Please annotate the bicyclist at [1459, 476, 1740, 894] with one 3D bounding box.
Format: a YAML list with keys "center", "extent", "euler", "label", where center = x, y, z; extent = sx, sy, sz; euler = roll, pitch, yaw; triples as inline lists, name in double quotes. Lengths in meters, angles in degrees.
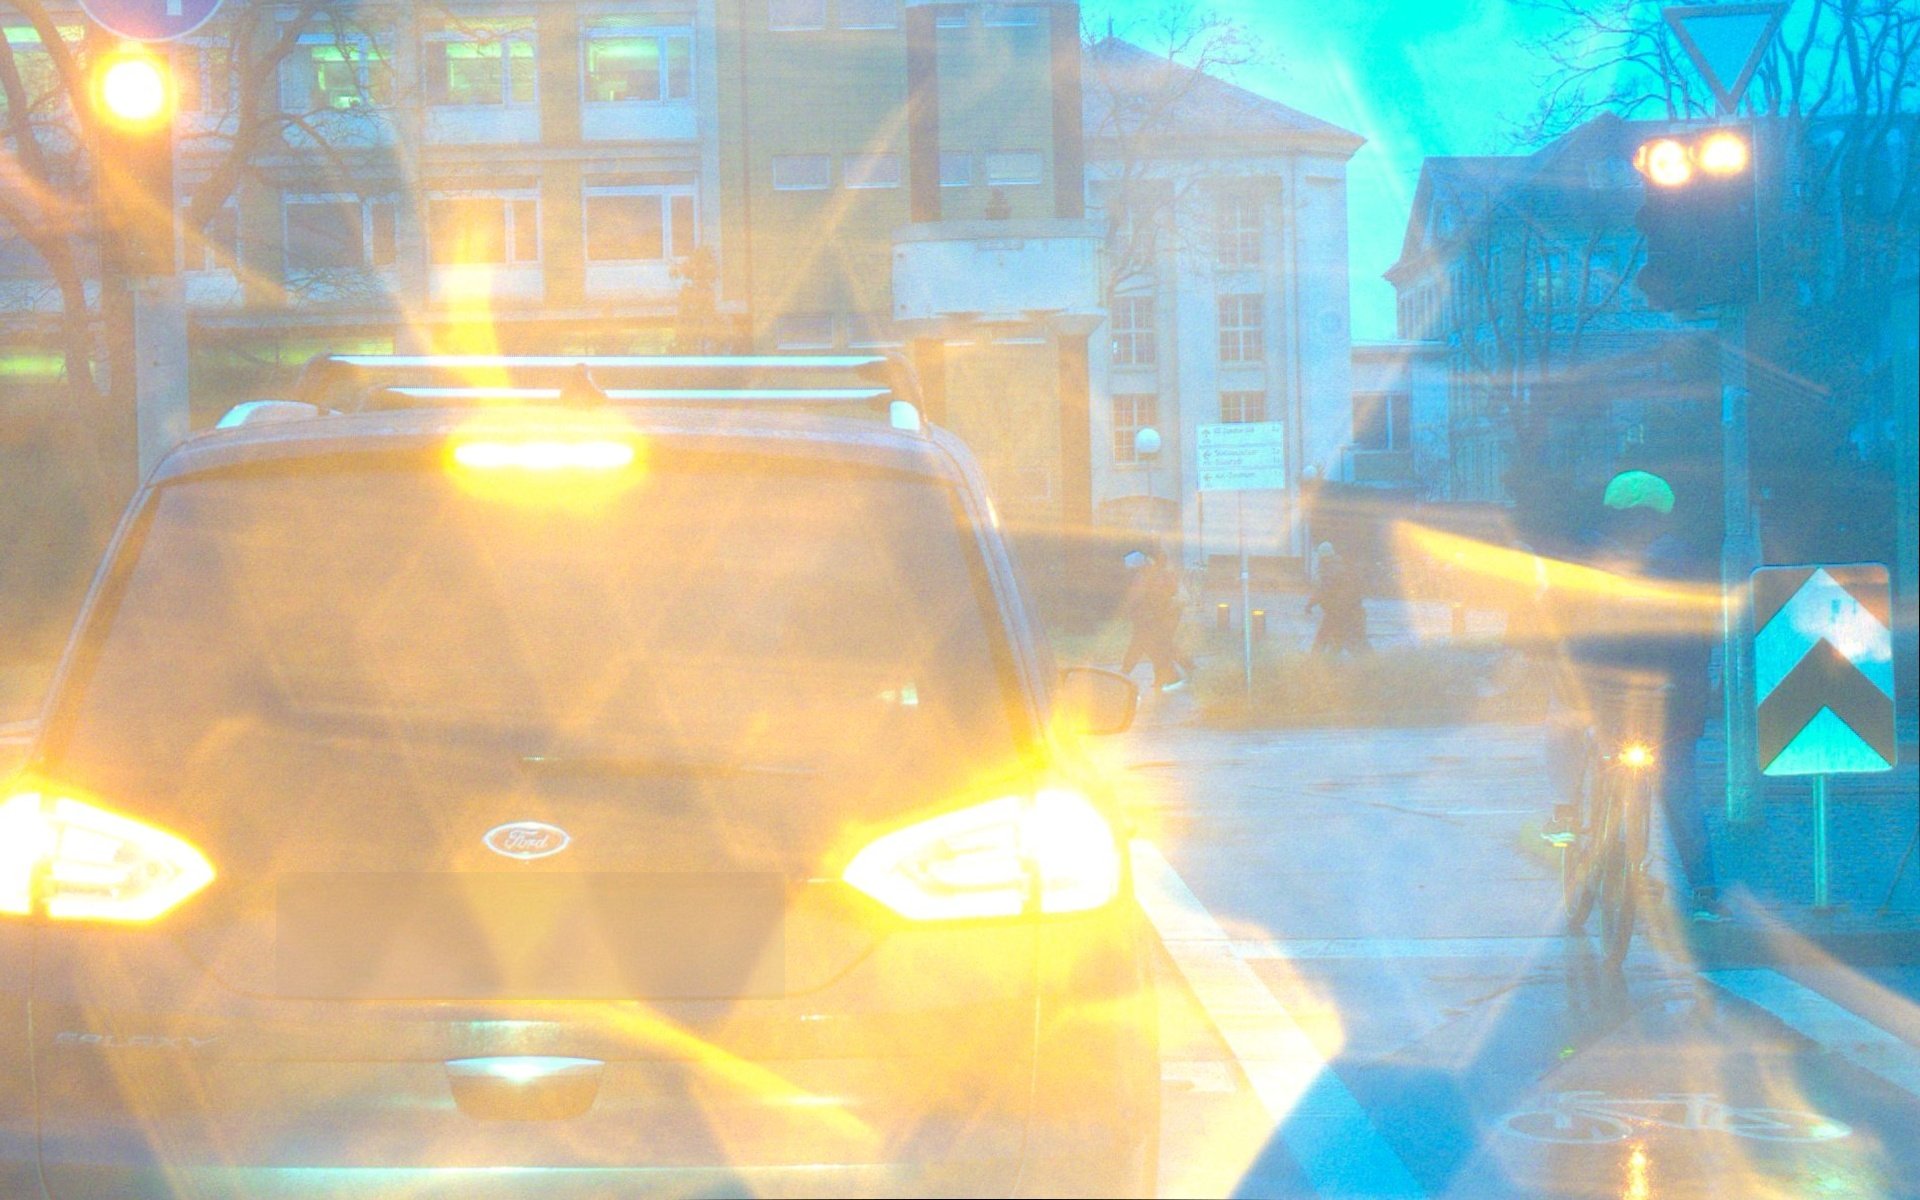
- center: [2.315, 0.292, 12.573]
  extent: [0.783, 1.448, 1.134]
  euler: [1, 0, -1]
  label: "bicyclist"

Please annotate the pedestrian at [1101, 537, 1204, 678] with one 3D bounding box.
- center: [2.438, 0.093, 43.439]
  extent: [1.136, 1.714, 0.981]
  euler: [-2, 1, 10]
  label: "pedestrian"

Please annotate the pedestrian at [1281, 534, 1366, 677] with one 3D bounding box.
- center: [4.724, 0.065, 44.641]
  extent: [0.997, 1.793, 0.919]
  euler: [-2, 1, 9]
  label: "pedestrian"

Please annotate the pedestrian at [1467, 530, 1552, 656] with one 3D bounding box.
- center: [6.864, -0.096, 42.965]
  extent: [0.924, 1.527, 1.043]
  euler: [-2, 1, 4]
  label: "pedestrian"

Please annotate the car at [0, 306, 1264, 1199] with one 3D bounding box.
- center: [-0.628, 0.490, 6.568]
  extent: [1.993, 1.783, 4.000]
  euler: [1, 1, -1]
  label: "car"

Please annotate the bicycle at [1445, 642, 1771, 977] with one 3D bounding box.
- center: [2.316, 0.716, 12.536]
  extent: [0.783, 1.071, 1.957]
  euler: [1, 1, -1]
  label: "bicycle"

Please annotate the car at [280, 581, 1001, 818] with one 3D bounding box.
- center: [-2.170, 0.673, 23.717]
  extent: [4.580, 1.472, 1.810]
  euler: [-2, 0, 14]
  label: "car"
